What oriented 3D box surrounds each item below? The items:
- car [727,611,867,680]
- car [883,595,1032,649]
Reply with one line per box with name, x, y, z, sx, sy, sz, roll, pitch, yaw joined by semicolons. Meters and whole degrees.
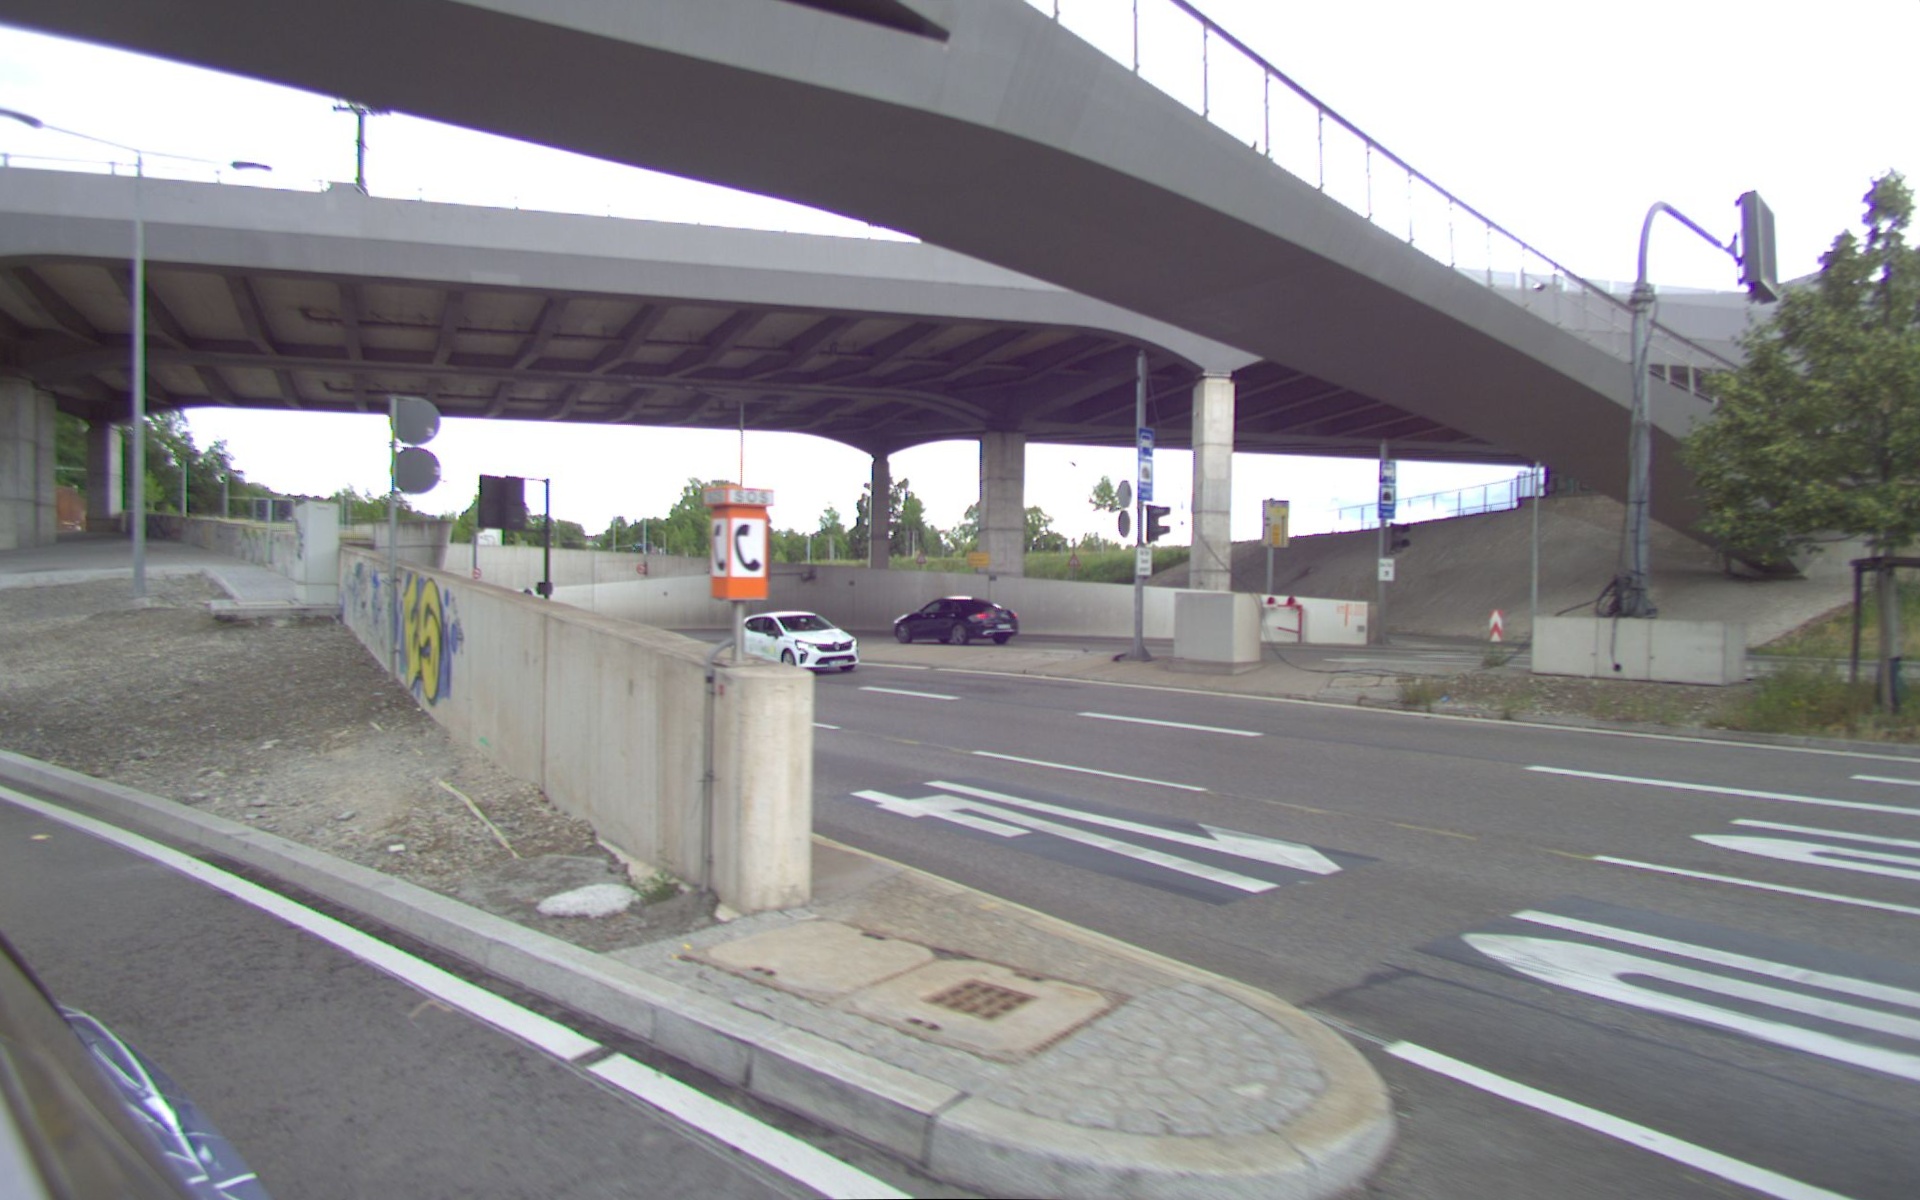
car;-3.993;1.019;24.360;1.556;1.495;4.004;0;0;-39
car;-0.142;0.642;30.536;4.618;1.489;1.768;-1;-1;45
